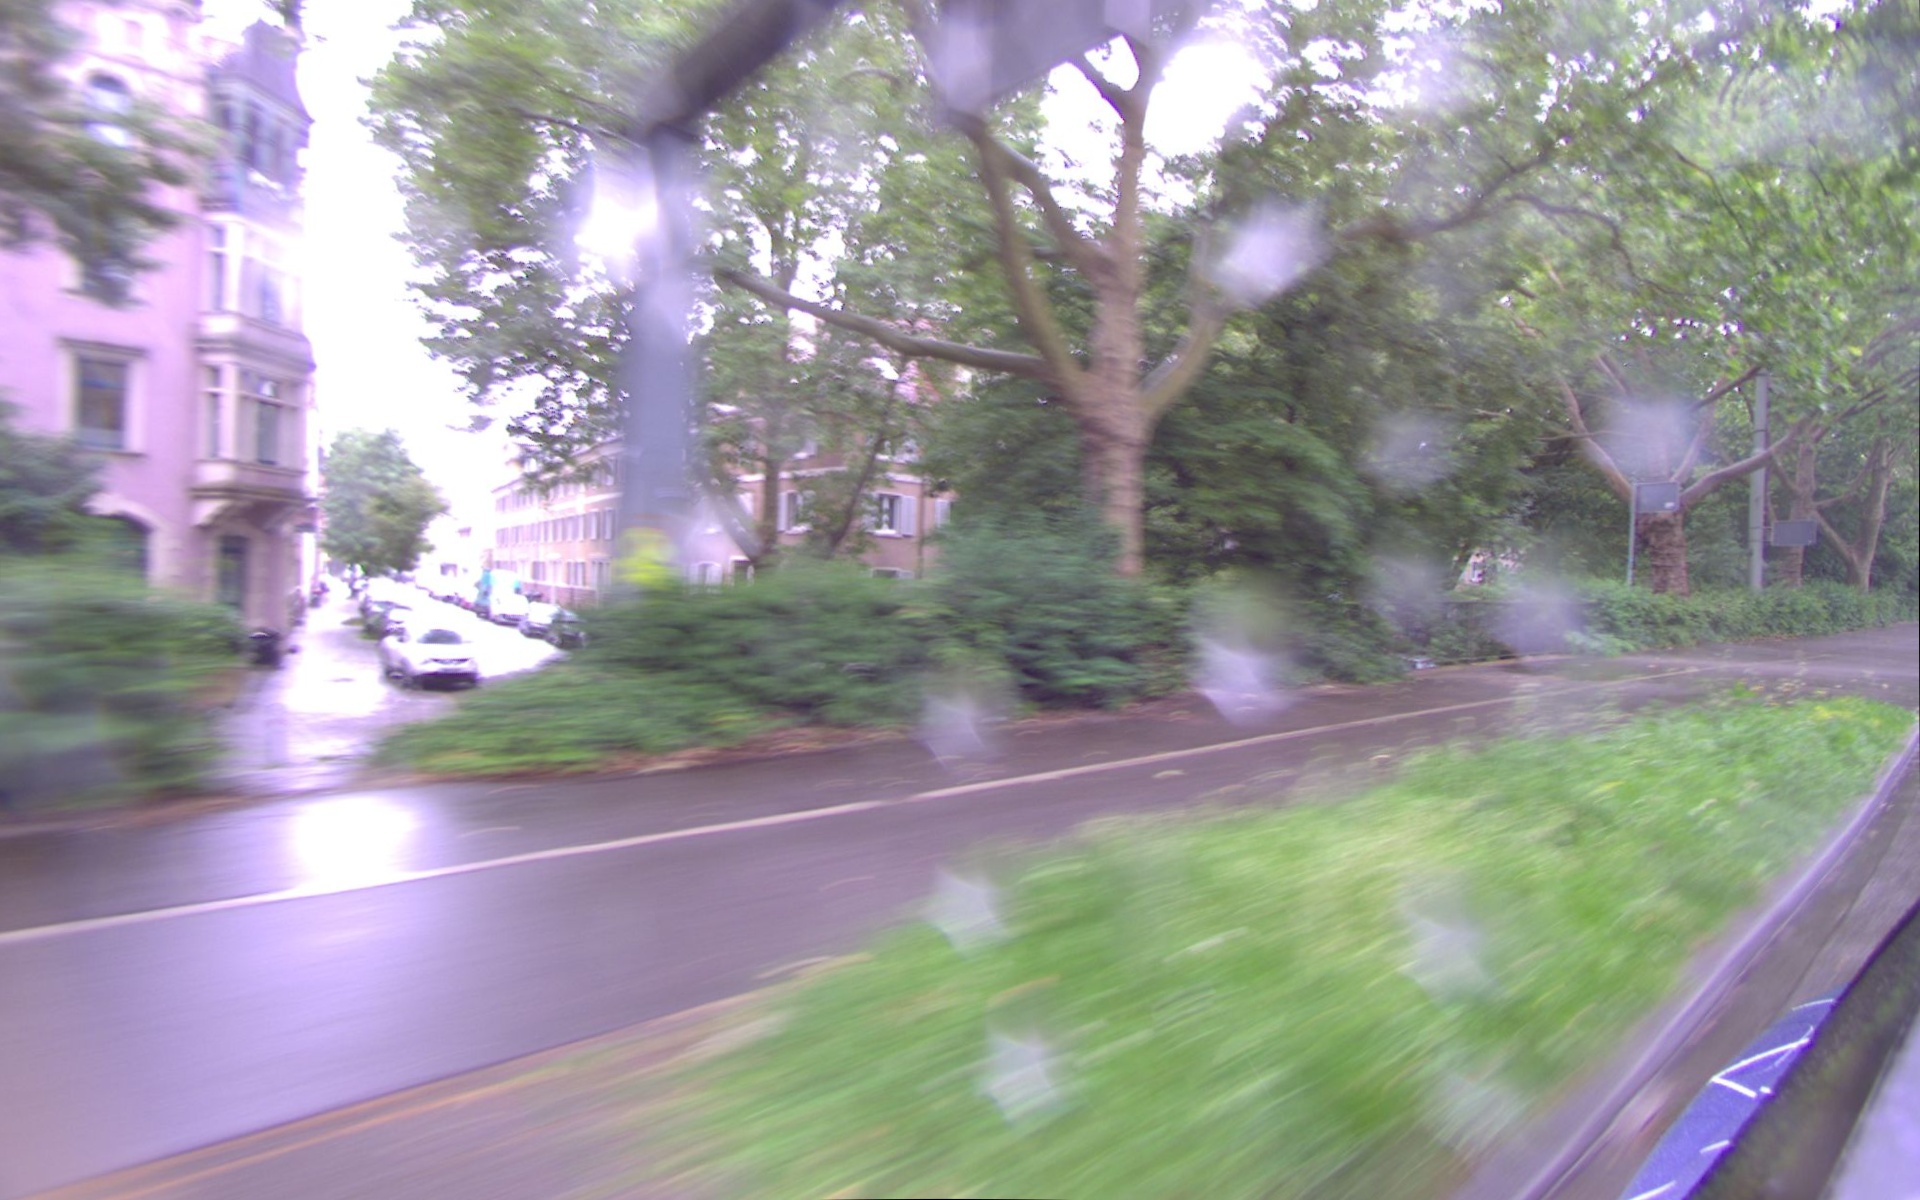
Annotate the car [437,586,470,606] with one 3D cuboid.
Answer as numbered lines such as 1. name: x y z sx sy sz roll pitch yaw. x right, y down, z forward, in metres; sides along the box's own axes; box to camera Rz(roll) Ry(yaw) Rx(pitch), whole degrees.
1. car: -40.175 -0.348 80.243 1.889 1.488 3.911 -1 2 -33

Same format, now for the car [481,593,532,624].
1. car: -24.324 0.411 54.247 1.889 1.488 3.911 -1 2 -33

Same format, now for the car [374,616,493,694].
1. car: -13.893 1.361 26.611 1.893 1.680 3.994 -2 2 -41

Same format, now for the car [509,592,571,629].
1. car: -19.110 0.442 45.979 1.889 1.488 3.911 -1 2 -33

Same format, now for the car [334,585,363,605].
1. car: -49.383 -0.420 81.728 1.889 1.488 3.911 -1 2 -33

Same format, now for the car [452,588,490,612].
1. car: -33.842 -0.049 69.973 1.889 1.488 3.911 -1 2 -33

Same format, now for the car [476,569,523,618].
1. car: -26.999 -0.417 59.250 1.889 2.739 3.911 -1 2 -33

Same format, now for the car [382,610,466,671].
1. car: -16.434 1.178 30.944 1.889 1.529 3.911 -1 2 -33

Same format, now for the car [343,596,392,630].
1. car: -29.696 0.615 50.669 1.889 1.488 3.911 -1 2 -33

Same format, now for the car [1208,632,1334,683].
1. car: 11.807 2.126 38.606 1.736 1.466 4.271 1 3 -41

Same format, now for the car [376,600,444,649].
1. car: -20.268 0.841 37.238 1.889 1.529 3.911 -1 2 -33
